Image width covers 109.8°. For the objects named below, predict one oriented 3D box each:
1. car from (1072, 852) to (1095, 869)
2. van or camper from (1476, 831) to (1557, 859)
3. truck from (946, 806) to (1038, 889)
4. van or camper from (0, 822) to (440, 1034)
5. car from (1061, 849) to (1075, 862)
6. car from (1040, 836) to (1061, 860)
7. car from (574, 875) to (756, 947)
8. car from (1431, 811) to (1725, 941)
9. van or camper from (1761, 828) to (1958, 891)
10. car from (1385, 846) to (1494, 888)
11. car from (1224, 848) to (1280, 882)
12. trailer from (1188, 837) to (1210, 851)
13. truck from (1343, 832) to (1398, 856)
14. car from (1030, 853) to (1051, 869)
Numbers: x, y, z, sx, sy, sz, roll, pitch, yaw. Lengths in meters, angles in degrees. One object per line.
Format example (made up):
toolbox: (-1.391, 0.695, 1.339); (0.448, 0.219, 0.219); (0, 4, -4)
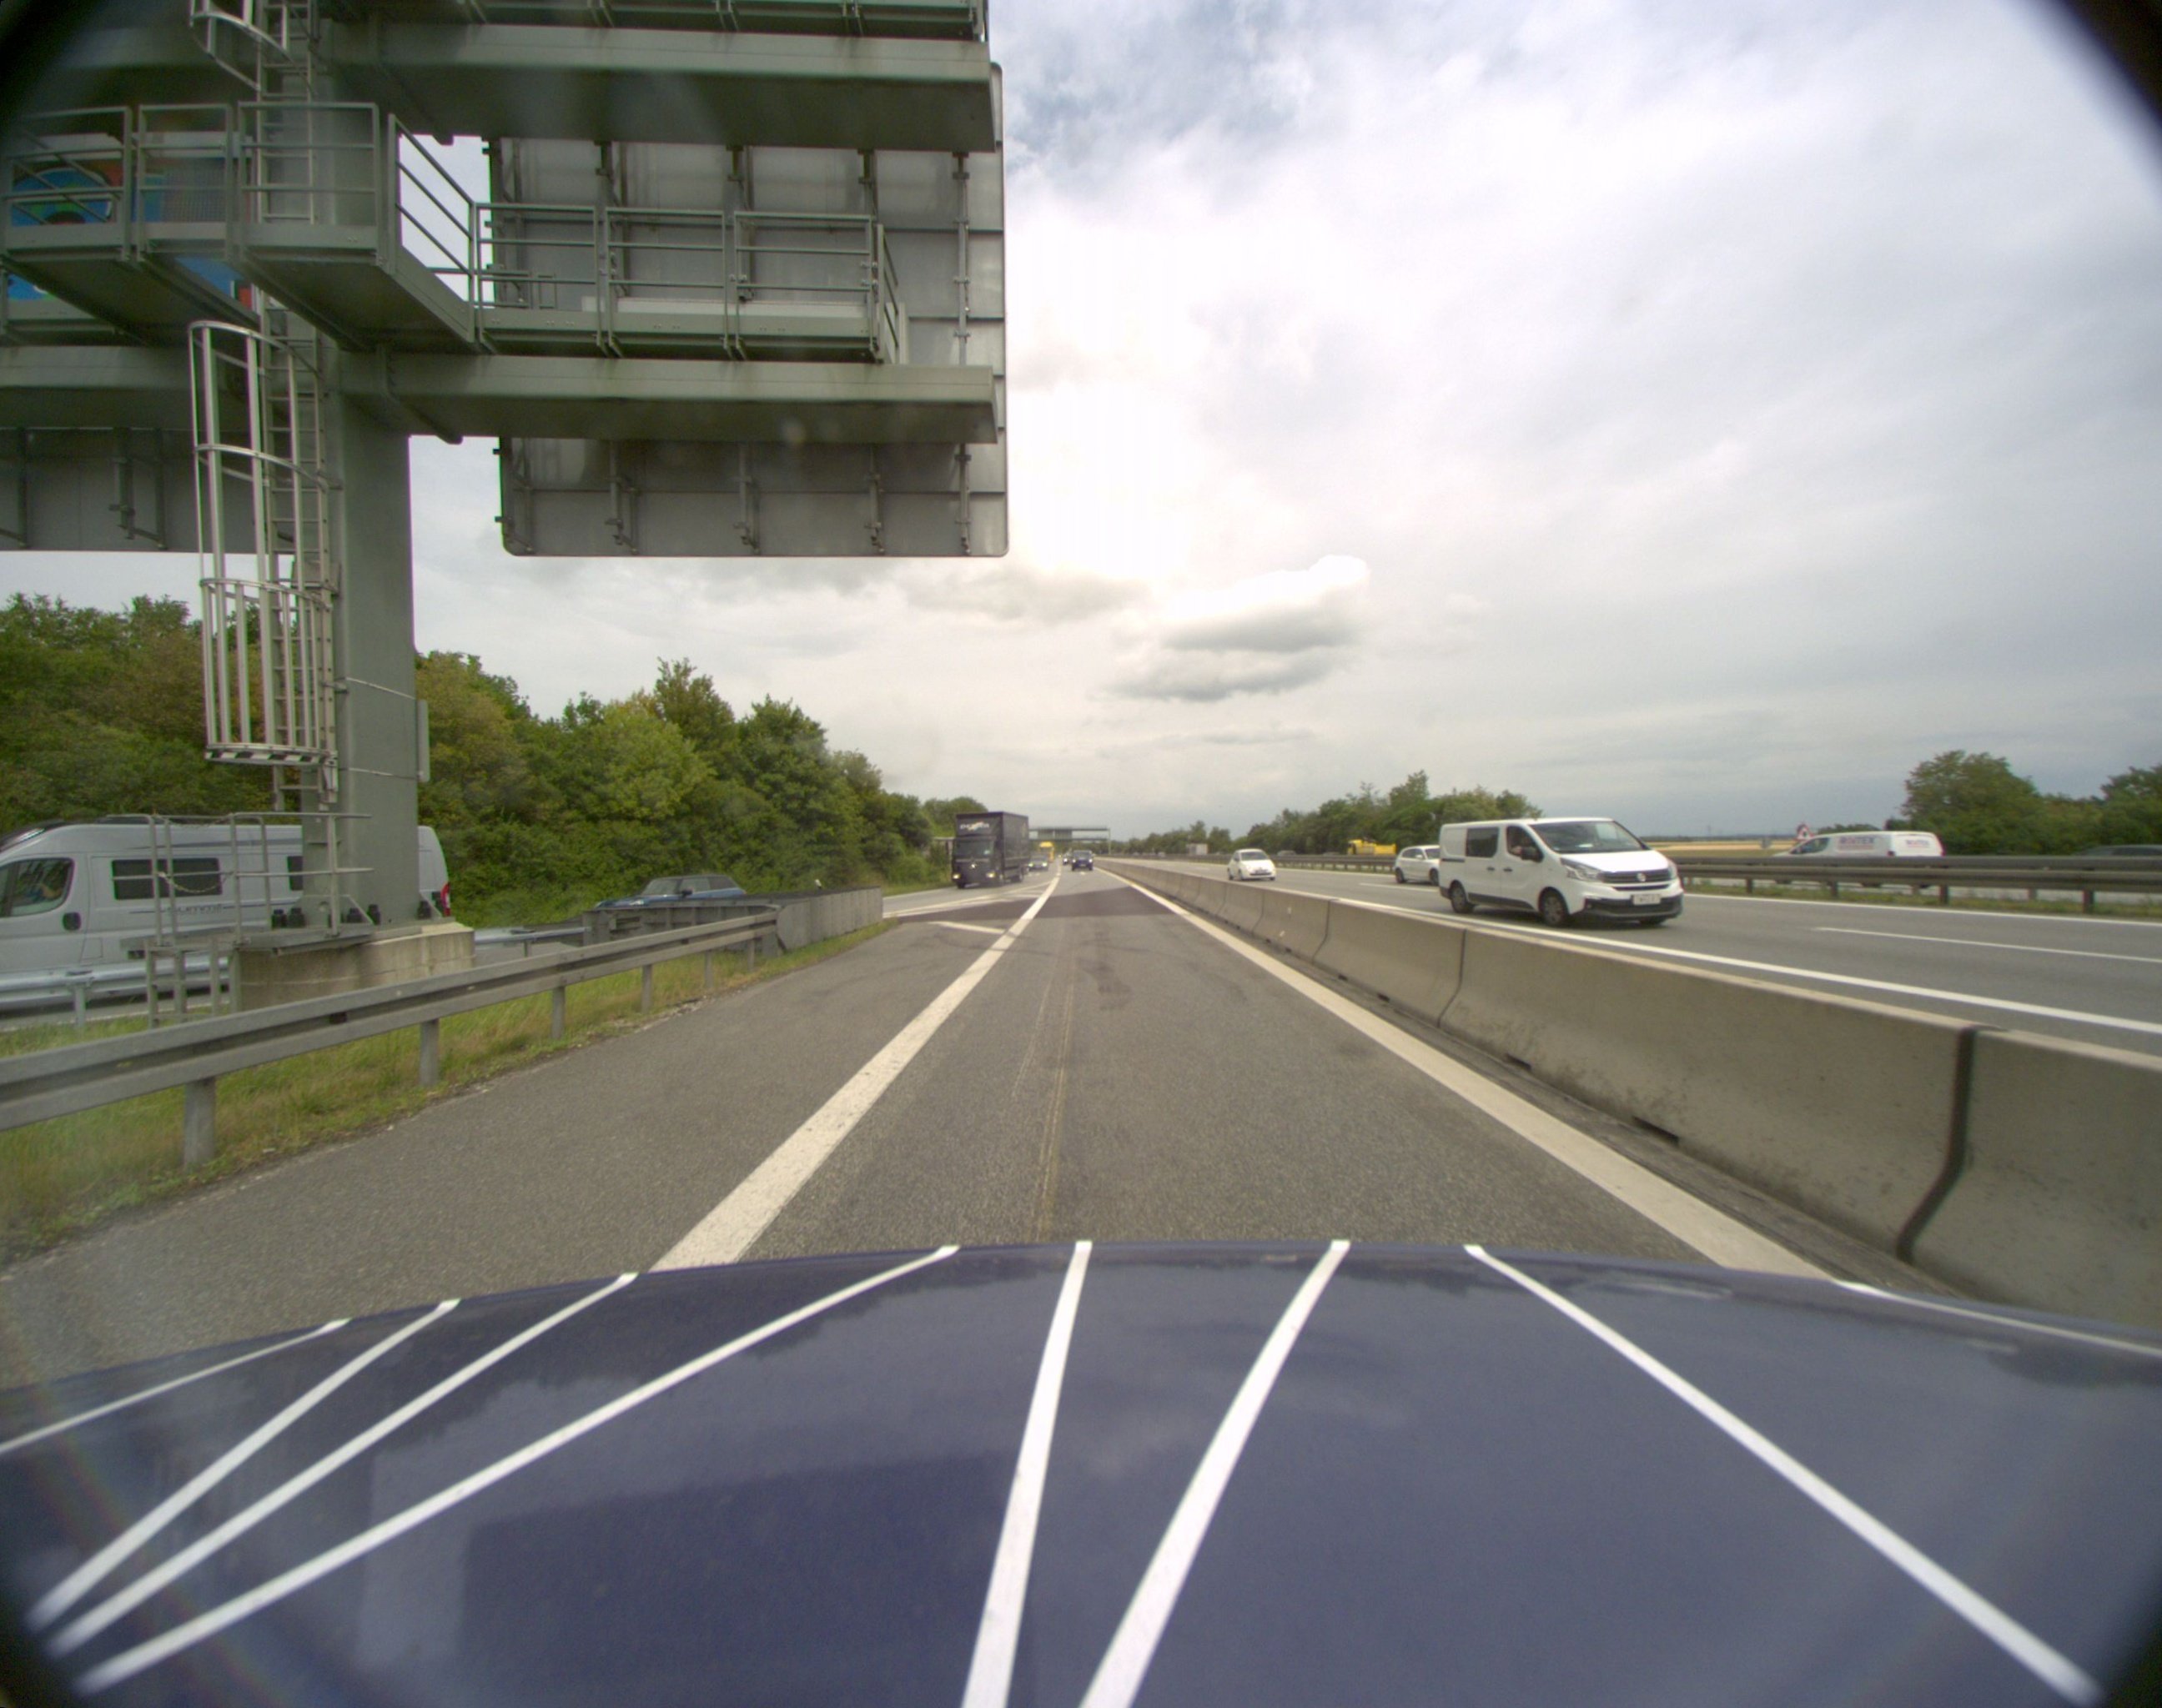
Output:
car: (0.204, 0.526, 68.037); (1.866, 1.434, 3.998); (-2, 0, -3)
van or camper: (33.338, -0.647, 58.389); (2.241, 2.002, 6.275); (-2, 0, -4)
truck: (-4.623, -0.360, 42.037); (3.023, 3.931, 10.342); (-2, 0, 4)
van or camper: (-13.421, 0.889, 10.751); (2.295, 2.553, 6.171); (-1, 1, 28)
car: (-1.837, 0.216, 106.921); (1.785, 1.761, 4.000); (-2, 0, 1)
car: (-5.844, -1.161, 149.770); (3.395, 4.457, 11.605); (-2, 0, 1)
car: (-10.204, 1.344, 18.946); (1.731, 1.411, 3.670); (-2, 1, 20)
car: (8.929, 0.319, 14.383); (2.005, 1.927, 5.130); (-3, 1, -2)
van or camper: (25.457, 0.153, 25.127); (1.999, 1.818, 4.346); (-2, 0, -1)
car: (12.883, 0.426, 27.580); (1.757, 1.361, 4.204); (-2, 1, -4)
car: (8.203, 0.494, 36.737); (1.685, 1.476, 3.773); (-2, 0, -2)
trailer: (28.176, -2.298, 181.793); (3.206, 3.250, 9.821); (-2, 0, -2)
truck: (35.736, -1.243, 94.315); (2.915, 2.758, 8.777); (-2, 0, -4)
car: (-3.870, 0.617, 72.827); (1.866, 1.434, 3.998); (-2, 0, -3)
